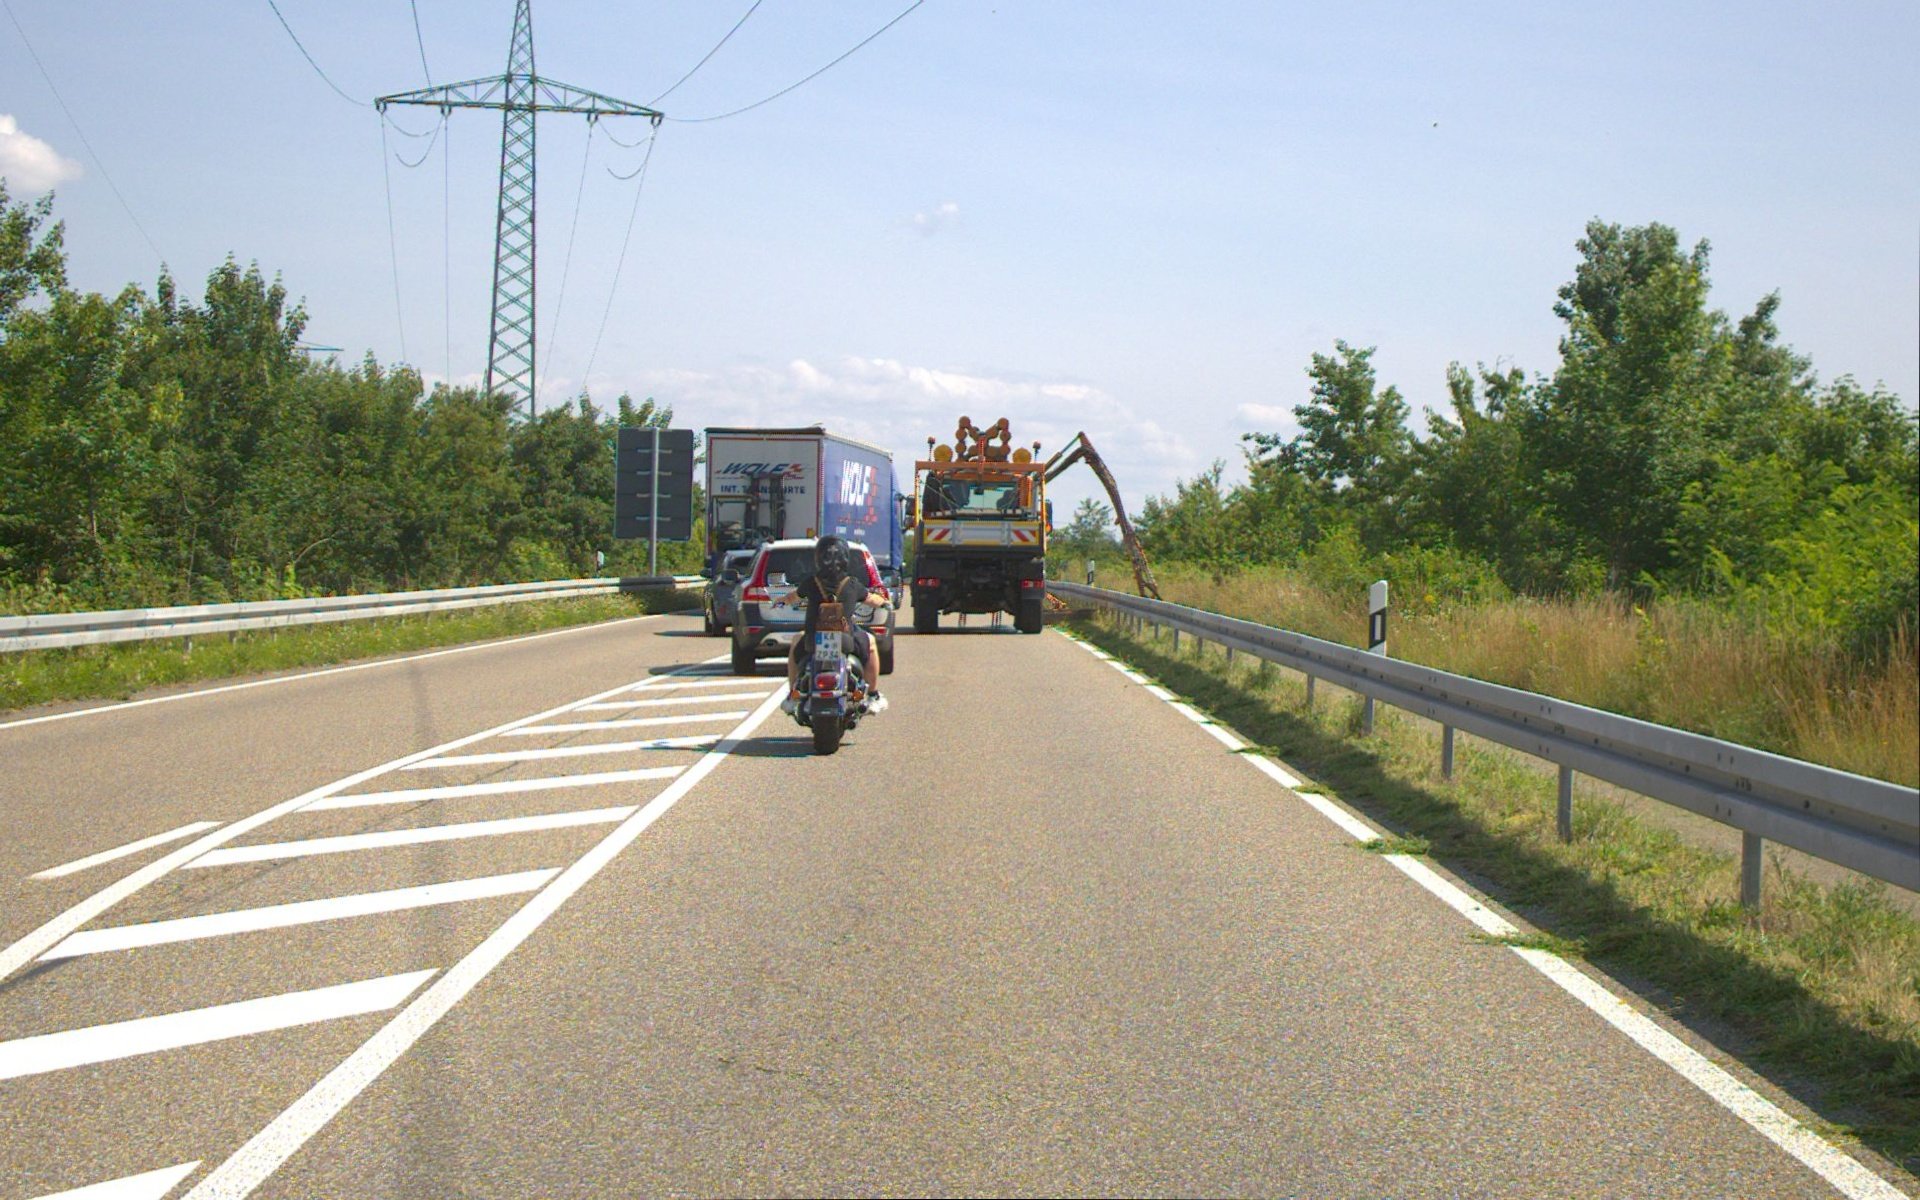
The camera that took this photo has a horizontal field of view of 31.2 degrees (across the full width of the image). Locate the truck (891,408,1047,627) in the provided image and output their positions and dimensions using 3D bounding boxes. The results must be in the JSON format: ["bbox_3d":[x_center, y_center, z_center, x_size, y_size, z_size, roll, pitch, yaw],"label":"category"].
[{"bbox_3d":[0.234,-1.466,62.056,2.614,3.698,6.777,1,1,1],"label":"truck"}]

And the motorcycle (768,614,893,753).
[{"bbox_3d":[-0.930,0.583,25.005,0.859,0.912,2.228,0,1,-2],"label":"motorcycle"}]

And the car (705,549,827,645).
[{"bbox_3d":[-3.208,-0.080,57.470,1.855,1.484,3.741,1,1,-1],"label":"car"}]

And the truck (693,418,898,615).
[{"bbox_3d":[-3.655,-1.915,80.838,2.968,4.172,14.820,1,1,4],"label":"truck"}]

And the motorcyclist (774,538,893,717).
[{"bbox_3d":[-0.923,0.190,25.164,0.837,1.276,0.919,1,1,-2],"label":"motorcyclist"}]

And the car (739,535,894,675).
[{"bbox_3d":[-1.710,0.025,40.067,1.701,1.531,3.500,1,1,-4],"label":"car"}]
